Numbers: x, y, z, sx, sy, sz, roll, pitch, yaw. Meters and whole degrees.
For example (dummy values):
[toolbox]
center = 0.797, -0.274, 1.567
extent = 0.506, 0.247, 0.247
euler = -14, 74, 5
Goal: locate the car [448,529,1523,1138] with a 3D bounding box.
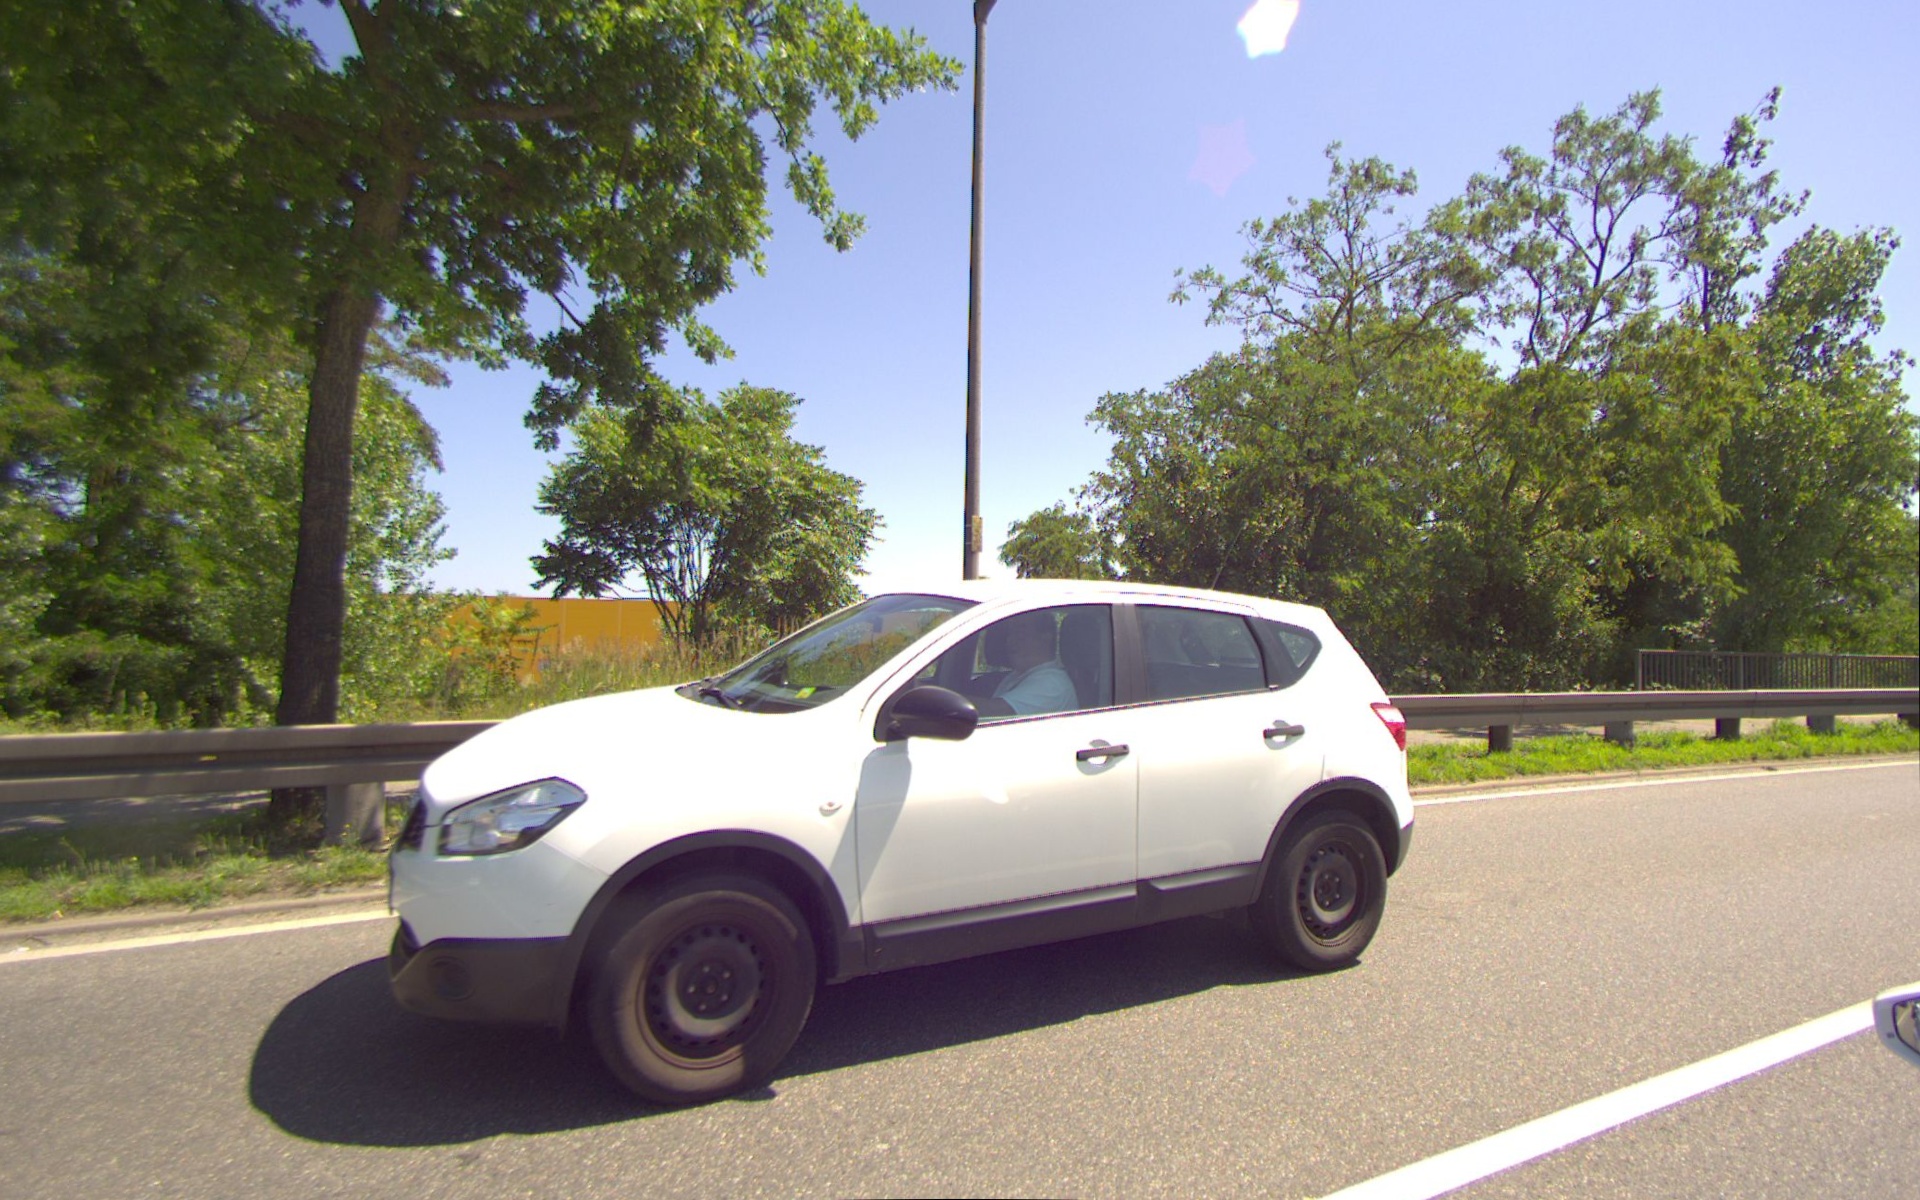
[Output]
[car]
center = 0.240, 0.659, 4.365
extent = 4.337, 1.566, 1.739
euler = 2, 0, -27
